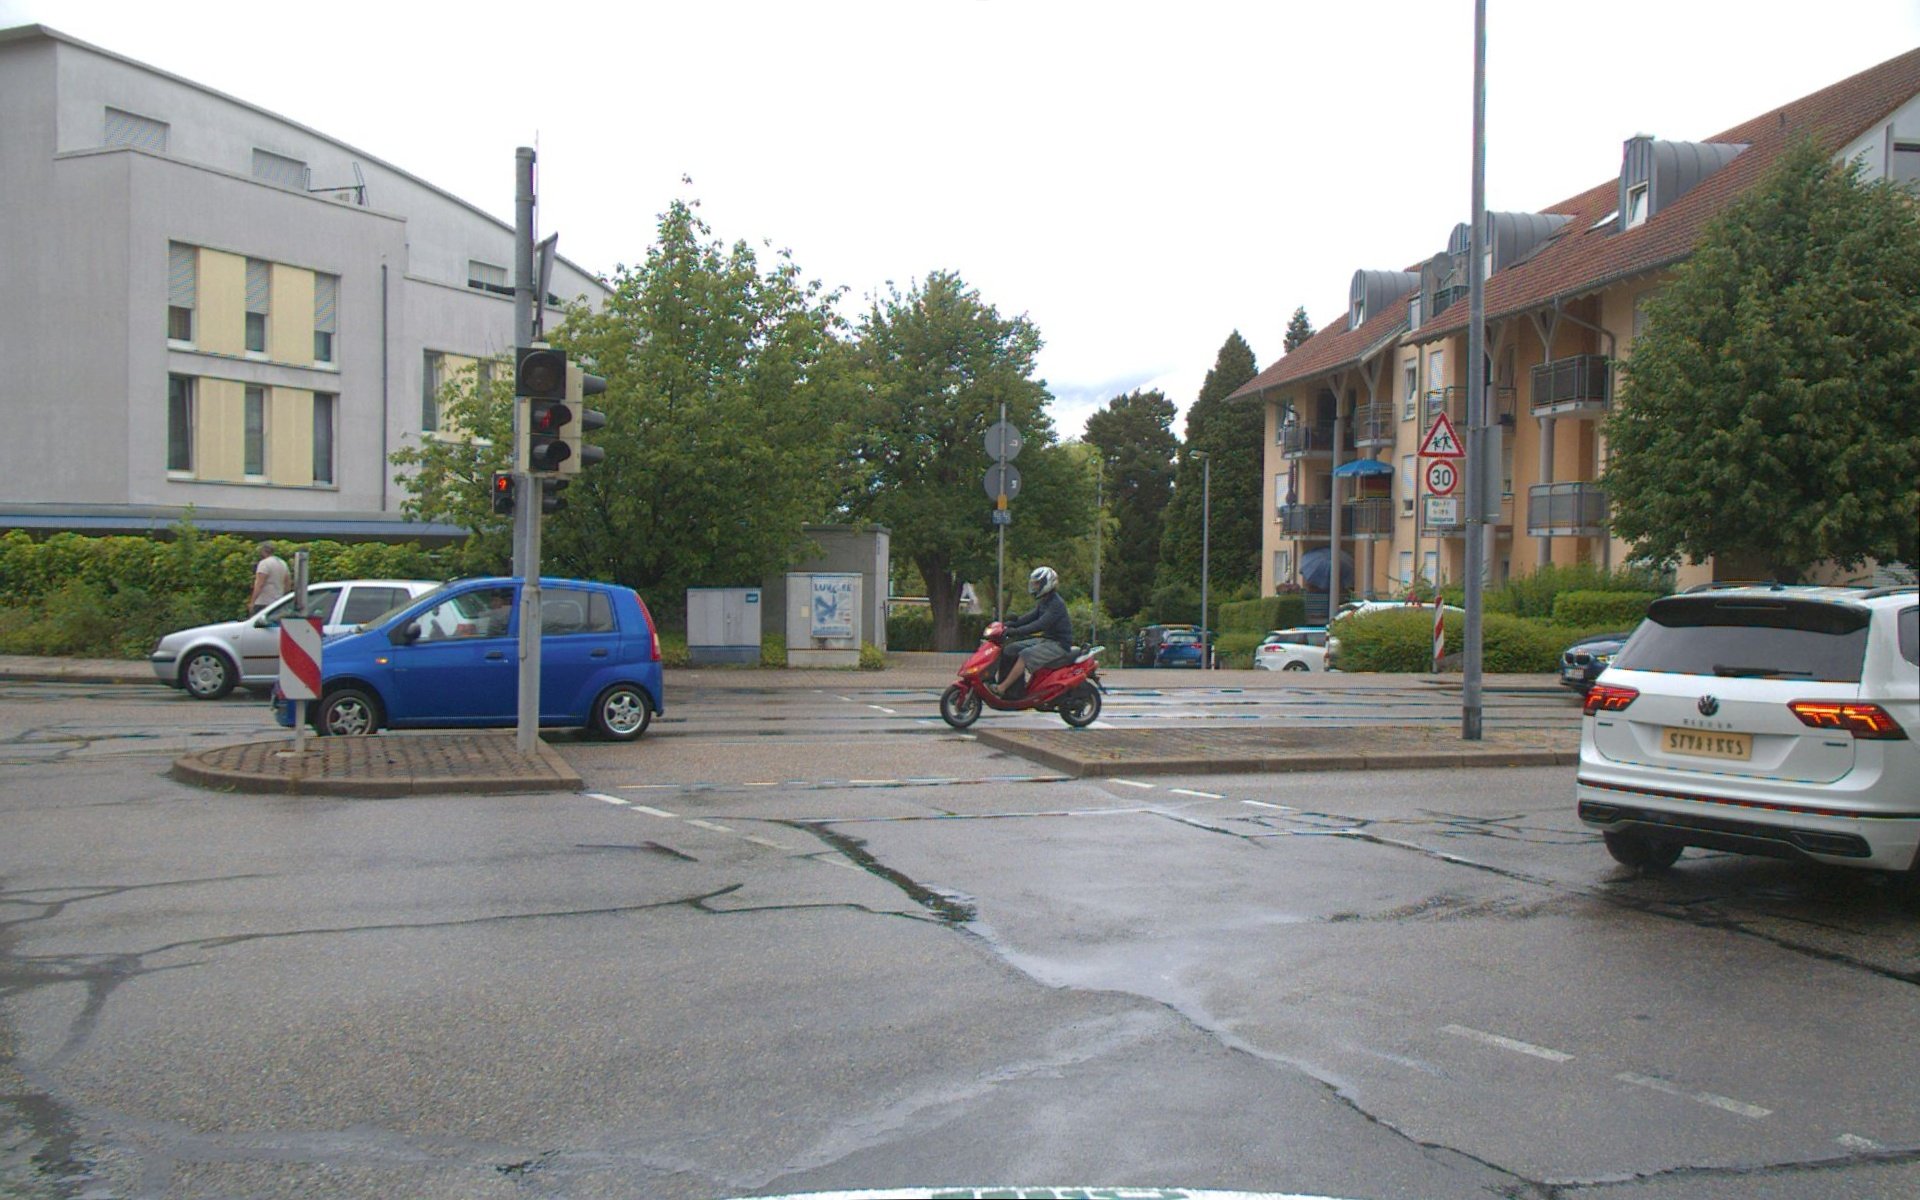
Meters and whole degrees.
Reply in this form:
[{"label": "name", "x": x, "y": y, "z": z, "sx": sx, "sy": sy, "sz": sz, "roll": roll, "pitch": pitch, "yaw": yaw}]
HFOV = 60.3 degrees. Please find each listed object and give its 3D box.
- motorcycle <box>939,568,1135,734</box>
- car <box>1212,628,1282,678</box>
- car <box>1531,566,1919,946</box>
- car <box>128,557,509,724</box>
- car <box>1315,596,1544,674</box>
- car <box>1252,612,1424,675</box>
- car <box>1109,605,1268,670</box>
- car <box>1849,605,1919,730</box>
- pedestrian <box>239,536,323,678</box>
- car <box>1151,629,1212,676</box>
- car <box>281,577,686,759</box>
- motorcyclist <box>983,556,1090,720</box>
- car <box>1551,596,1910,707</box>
[{"label": "motorcycle", "x": 0.788, "y": 0.499, "z": 17.125, "sx": 1.883, "sy": 1.652, "sz": 0.795, "roll": -1, "pitch": 1, "yaw": -14}, {"label": "car", "x": 9.164, "y": 1.657, "z": 53.069, "sx": 1.724, "sy": 1.433, "sz": 3.863, "roll": 0, "pitch": 1, "yaw": 3}, {"label": "car", "x": 5.372, "y": 0.709, "z": 9.789, "sx": 4.225, "sy": 1.752, "sz": 1.899, "roll": 0, "pitch": 1, "yaw": -40}, {"label": "car", "x": -7.799, "y": 0.456, "z": 20.451, "sx": 3.909, "sy": 1.698, "sz": 1.999, "roll": 3, "pitch": 3, "yaw": -5}, {"label": "car", "x": 9.456, "y": 0.701, "z": 33.530, "sx": 4.104, "sy": 1.464, "sz": 1.822, "roll": 1, "pitch": -1, "yaw": -1}, {"label": "car", "x": 9.216, "y": 1.041, "z": 40.525, "sx": 3.772, "sy": 1.432, "sz": 1.766, "roll": -1, "pitch": 1, "yaw": -3}, {"label": "car", "x": 9.407, "y": 1.529, "z": 68.488, "sx": 5.887, "sy": 2.239, "sz": 2.849, "roll": 3, "pitch": 1, "yaw": -7}, {"label": "car", "x": 13.140, "y": 0.800, "z": 19.824, "sx": 4.110, "sy": 1.433, "sz": 1.819, "roll": 0, "pitch": 0, "yaw": -8}, {"label": "pedestrian", "x": -10.020, "y": 0.090, "z": 24.438, "sx": 0.782, "sy": 2.048, "sz": 0.850, "roll": 1, "pitch": 1, "yaw": 20}, {"label": "car", "x": 7.452, "y": 1.738, "z": 55.860, "sx": 1.724, "sy": 1.433, "sz": 3.863, "roll": 0, "pitch": 1, "yaw": 3}, {"label": "car", "x": -4.318, "y": 0.550, "z": 14.992, "sx": 3.382, "sy": 1.481, "sz": 1.515, "roll": 0, "pitch": 1, "yaw": -23}, {"label": "motorcyclist", "x": 0.786, "y": 0.373, "z": 17.124, "sx": 0.920, "sy": 1.652, "sz": 0.770, "roll": -1, "pitch": 1, "yaw": -14}, {"label": "car", "x": 10.727, "y": 0.695, "z": 23.203, "sx": 4.251, "sy": 1.460, "sz": 1.759, "roll": 0, "pitch": 0, "yaw": -3}]
